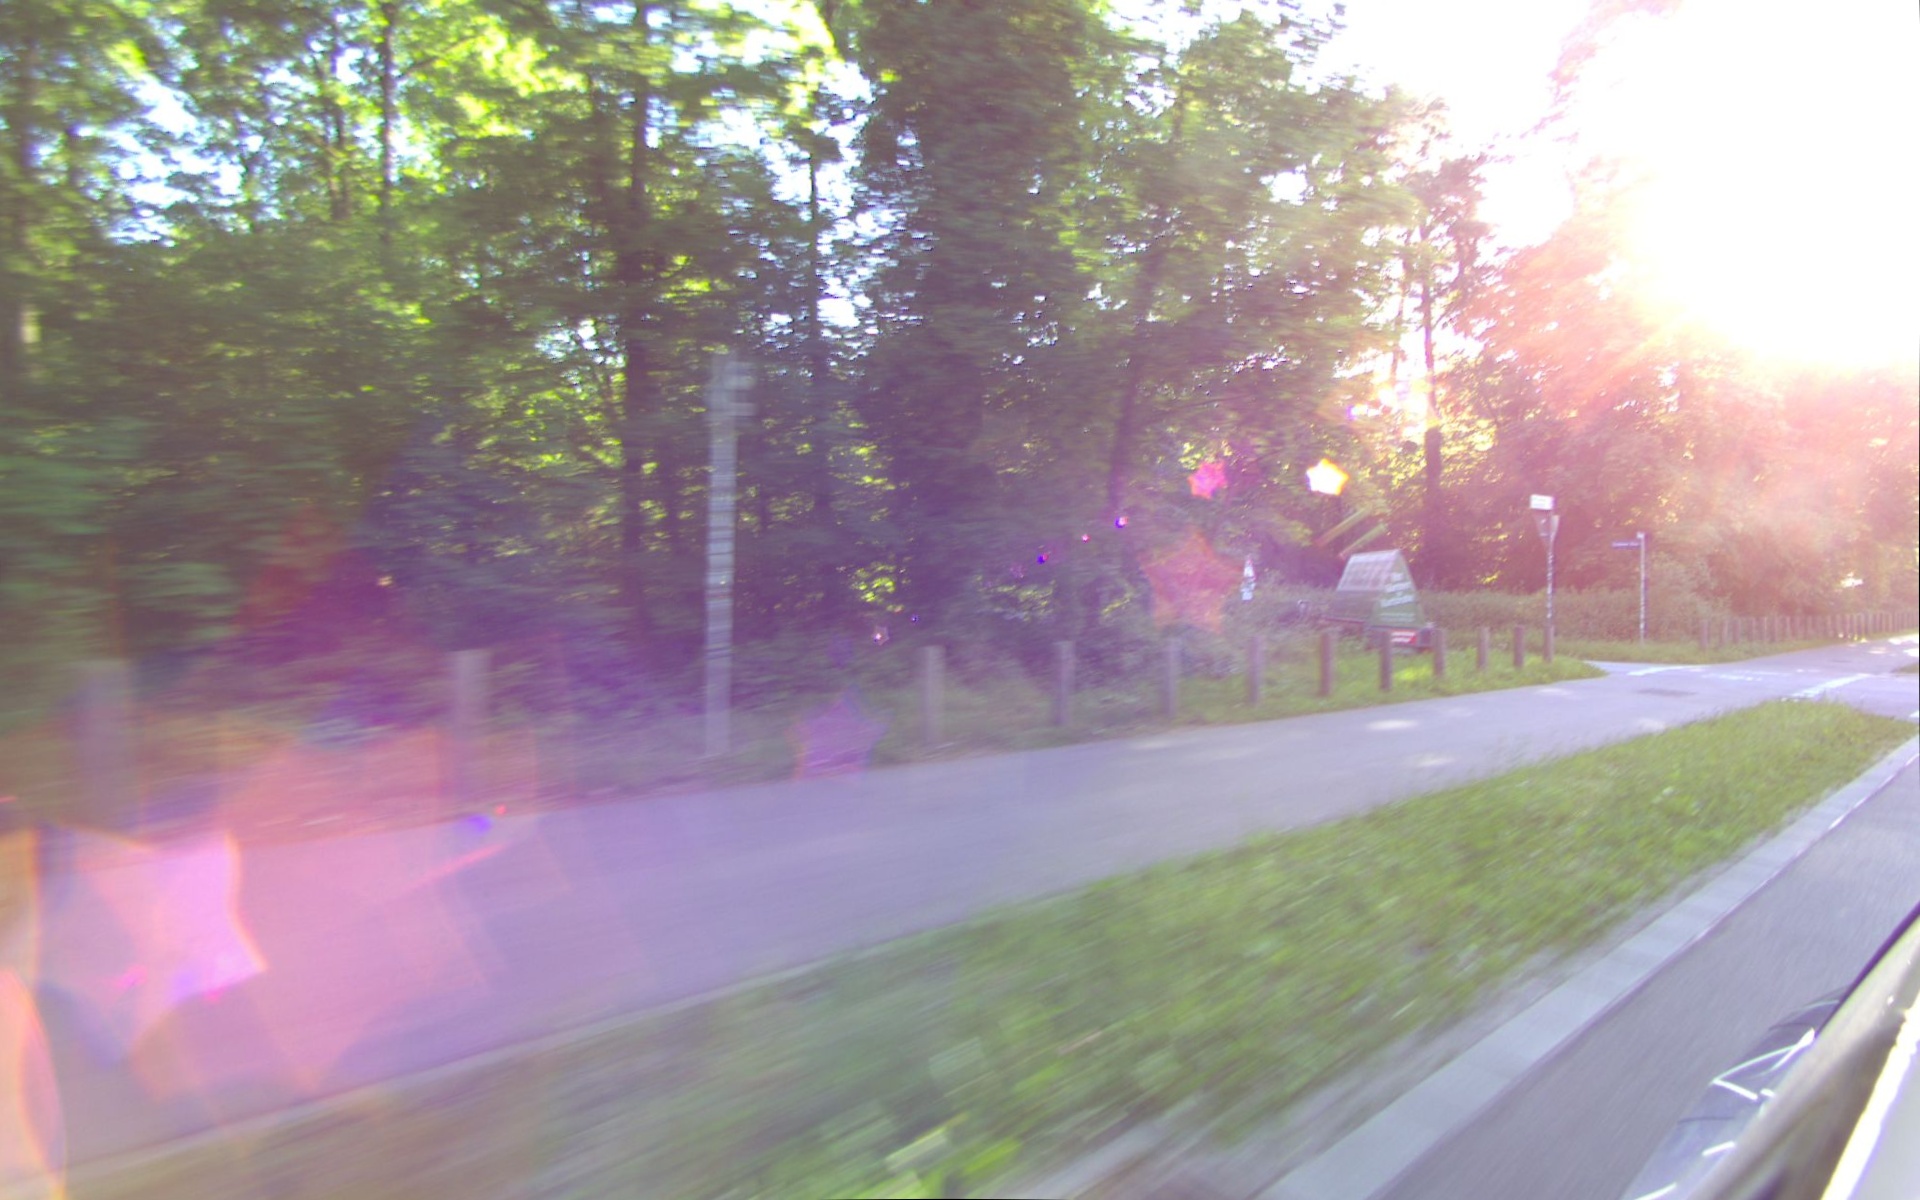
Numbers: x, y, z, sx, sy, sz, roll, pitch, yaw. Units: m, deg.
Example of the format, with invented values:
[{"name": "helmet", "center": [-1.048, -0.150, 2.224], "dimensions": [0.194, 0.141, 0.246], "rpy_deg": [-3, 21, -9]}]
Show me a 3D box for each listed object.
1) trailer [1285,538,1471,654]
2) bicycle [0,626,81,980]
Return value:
[{"name": "trailer", "center": [8.202, -0.128, 20.337], "dimensions": [1.962, 2.046, 4.228], "rpy_deg": [1, 1, 0]}, {"name": "bicycle", "center": [-3.851, 0.641, 2.877], "dimensions": [2.016, 1.069, 0.713], "rpy_deg": [0, 1, -40]}]
